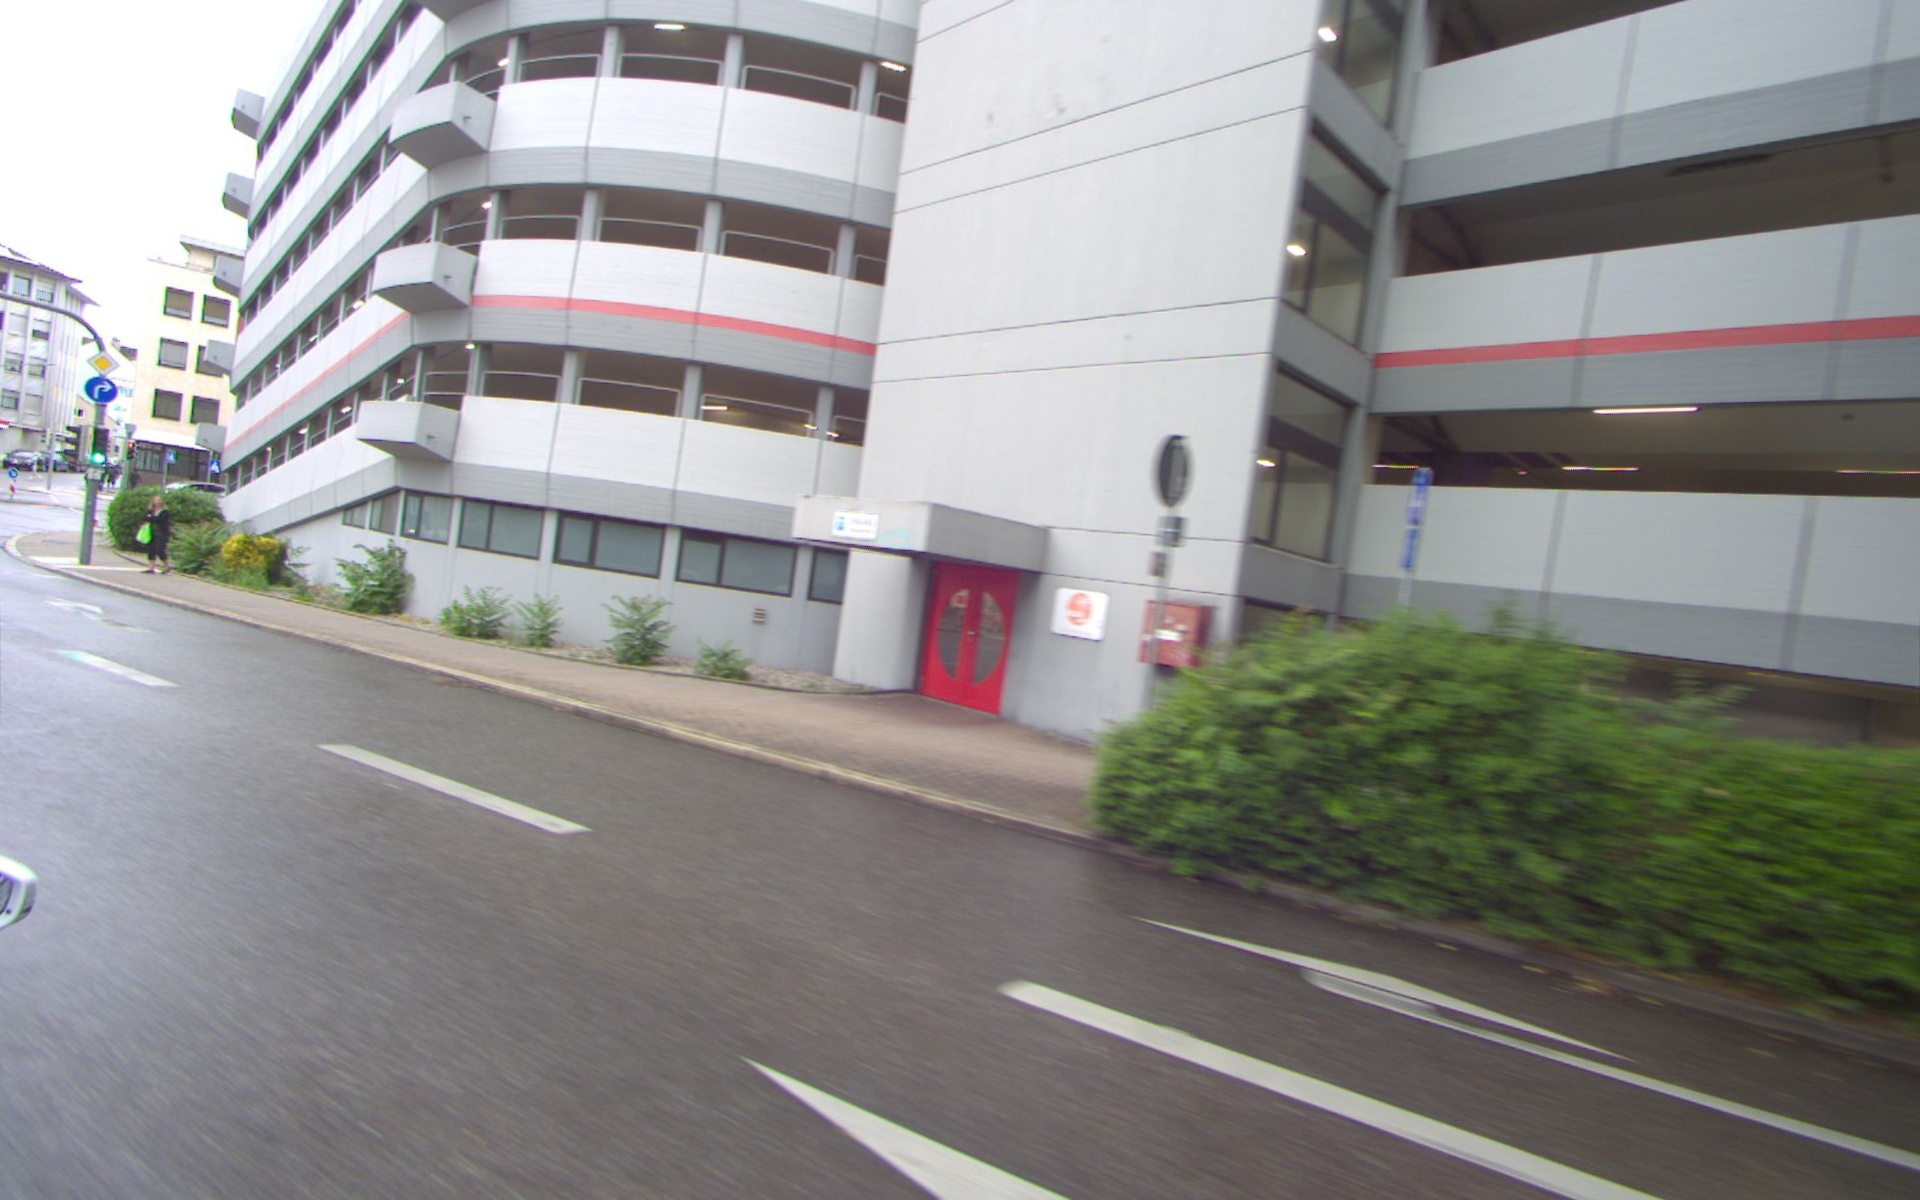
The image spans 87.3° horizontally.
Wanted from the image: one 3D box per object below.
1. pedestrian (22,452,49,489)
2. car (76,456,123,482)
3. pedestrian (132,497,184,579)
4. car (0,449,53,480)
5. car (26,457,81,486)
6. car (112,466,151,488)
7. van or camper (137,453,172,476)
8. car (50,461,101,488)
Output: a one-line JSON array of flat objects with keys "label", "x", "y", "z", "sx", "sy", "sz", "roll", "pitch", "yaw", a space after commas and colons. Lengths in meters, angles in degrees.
[{"label": "pedestrian", "x": -58.813, "y": -8.238, "z": 64.023, "sx": 0.931, "sy": 2.156, "sz": 0.856, "roll": 7, "pitch": 2, "yaw": 26}, {"label": "car", "x": -76.339, "y": -11.598, "z": 89.312, "sx": 1.974, "sy": 1.727, "sz": 3.975, "roll": 6, "pitch": 1, "yaw": -24}, {"label": "pedestrian", "x": -17.995, "y": -1.372, "z": 22.571, "sx": 0.638, "sy": 1.730, "sz": 0.469, "roll": 7, "pitch": -1, "yaw": -22}, {"label": "car", "x": -69.728, "y": -10.095, "z": 74.958, "sx": 1.974, "sy": 1.727, "sz": 3.975, "roll": 6, "pitch": 1, "yaw": -24}, {"label": "car", "x": -71.764, "y": -10.153, "z": 79.666, "sx": 1.974, "sy": 1.727, "sz": 3.975, "roll": 6, "pitch": 1, "yaw": -24}, {"label": "car", "x": -85.061, "y": -12.625, "z": 103.301, "sx": 1.974, "sy": 1.727, "sz": 3.975, "roll": 6, "pitch": 1, "yaw": -24}, {"label": "van or camper", "x": -93.109, "y": -15.612, "z": 116.296, "sx": 1.974, "sy": 2.004, "sz": 4.485, "roll": 6, "pitch": 1, "yaw": -24}, {"label": "car", "x": -73.897, "y": -10.472, "z": 84.066, "sx": 1.974, "sy": 1.727, "sz": 3.975, "roll": 6, "pitch": 1, "yaw": -24}]
